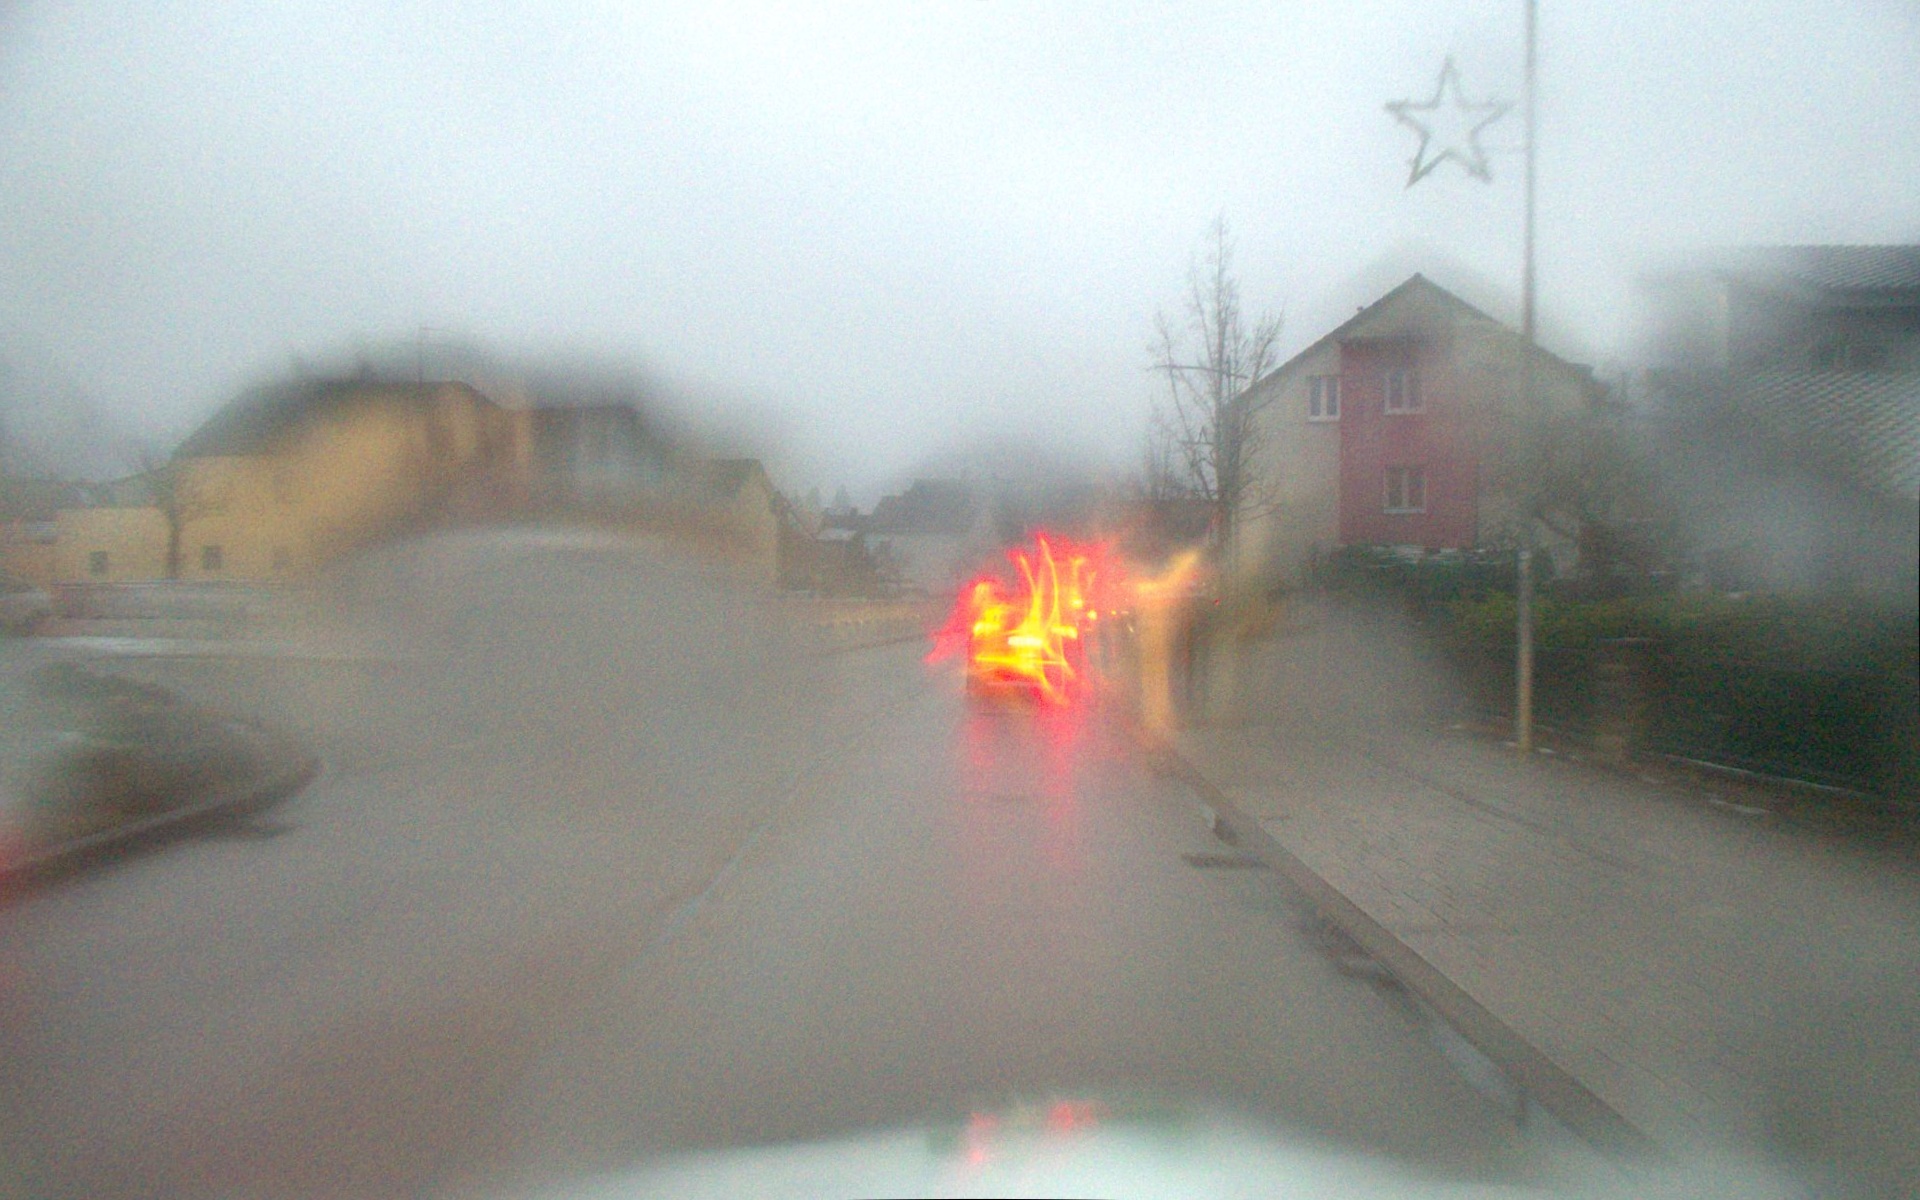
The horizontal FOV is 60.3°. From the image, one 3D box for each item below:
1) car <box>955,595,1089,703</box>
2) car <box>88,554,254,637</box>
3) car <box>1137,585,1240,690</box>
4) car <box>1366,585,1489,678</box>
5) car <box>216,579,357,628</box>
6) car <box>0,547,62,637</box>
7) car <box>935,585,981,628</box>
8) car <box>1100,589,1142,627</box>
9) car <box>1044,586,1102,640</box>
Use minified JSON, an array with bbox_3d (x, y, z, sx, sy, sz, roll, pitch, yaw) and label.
[{"bbox_3d":[1.019,0.744,26.657,1.952,1.552,4.001,2,0,3],"label":"car"},{"bbox_3d":[-21.382,-0.096,45.006,1.951,2.048,4.003,3,0,12],"label":"car"},{"bbox_3d":[4.243,0.647,31.200,1.708,1.816,4.338,-1,0,5],"label":"car"},{"bbox_3d":[8.765,0.537,31.312,1.927,1.611,4.339,1,0,12],"label":"car"},{"bbox_3d":[-20.593,0.129,50.773,1.951,1.330,4.116,3,0,12],"label":"car"},{"bbox_3d":[-22.857,-0.236,37.671,1.951,2.048,4.226,3,0,10],"label":"car"},{"bbox_3d":[-0.056,0.343,82.850,1.952,2.049,4.002,2,-1,4],"label":"car"},{"bbox_3d":[9.217,0.482,94.434,1.951,2.049,4.003,2,-1,11],"label":"car"},{"bbox_3d":[4.580,0.550,66.343,1.951,2.049,4.003,2,-1,8],"label":"car"}]
